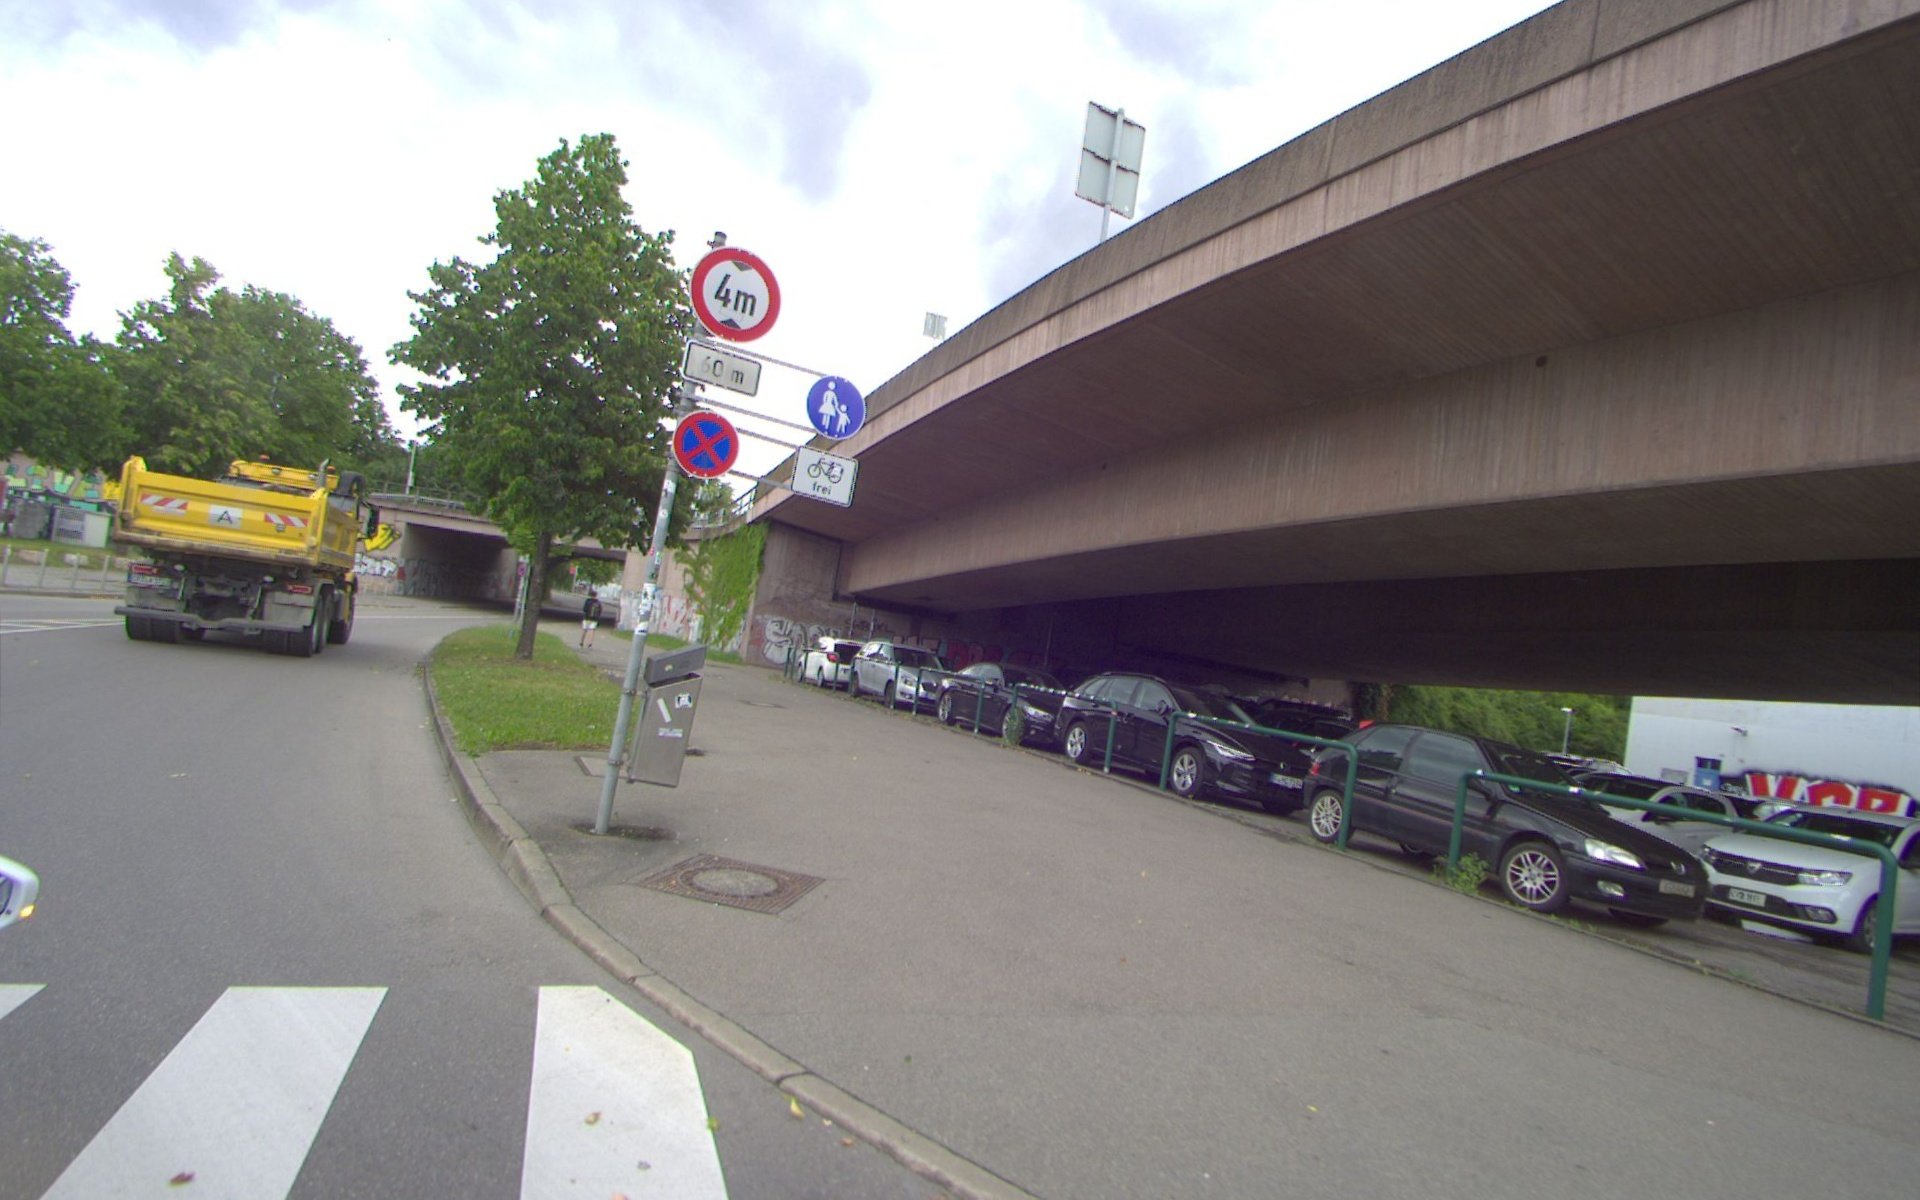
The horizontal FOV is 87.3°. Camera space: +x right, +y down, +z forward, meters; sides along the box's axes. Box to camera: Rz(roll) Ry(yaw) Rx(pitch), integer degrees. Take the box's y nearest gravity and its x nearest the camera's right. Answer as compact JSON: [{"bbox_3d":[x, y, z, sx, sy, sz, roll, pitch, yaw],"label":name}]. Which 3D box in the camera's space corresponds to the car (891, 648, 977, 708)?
[{"bbox_3d":[-0.954,2.563,33.737,1.724,1.515,3.988,10,-3,-16],"label":"car"}]

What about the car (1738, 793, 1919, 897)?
[{"bbox_3d":[18.240,5.054,20.615,3.813,1.442,1.830,11,-3,-21],"label":"car"}]

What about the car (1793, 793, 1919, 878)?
[{"bbox_3d":[22.545,5.799,24.337,4.138,1.481,1.830,11,-3,-21],"label":"car"}]

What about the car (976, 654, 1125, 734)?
[{"bbox_3d":[2.631,2.734,29.170,3.821,1.656,1.746,11,-3,-28],"label":"car"}]

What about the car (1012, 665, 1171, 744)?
[{"bbox_3d":[3.566,2.830,27.140,3.821,1.454,1.746,11,-3,-28],"label":"car"}]

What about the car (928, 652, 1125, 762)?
[{"bbox_3d":[1.059,1.888,18.580,1.750,1.335,4.354,11,-3,-22],"label":"car"}]

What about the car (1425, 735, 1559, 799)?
[{"bbox_3d":[18.830,5.910,35.645,4.138,1.481,1.830,11,-3,-21],"label":"car"}]

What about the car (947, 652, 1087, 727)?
[{"bbox_3d":[1.776,2.798,31.284,3.821,1.656,1.746,11,-3,-28],"label":"car"}]

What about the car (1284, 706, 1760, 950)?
[{"bbox_3d":[4.960,1.965,9.475,1.492,1.343,3.684,12,-4,-20],"label":"car"}]

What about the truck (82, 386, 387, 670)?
[{"bbox_3d":[-12.731,-1.021,18.549,2.736,3.737,7.836,10,-4,-26],"label":"truck"}]

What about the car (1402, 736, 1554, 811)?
[{"bbox_3d":[14.980,5.014,29.103,3.813,1.442,1.672,11,-3,-21],"label":"car"}]

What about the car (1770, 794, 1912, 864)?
[{"bbox_3d":[30.003,7.796,34.272,4.138,1.610,1.830,11,-3,-21],"label":"car"}]

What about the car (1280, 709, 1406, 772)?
[{"bbox_3d":[12.748,4.670,33.482,3.616,1.442,1.672,11,-3,-21],"label":"car"}]

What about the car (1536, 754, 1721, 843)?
[{"bbox_3d":[16.502,4.891,24.850,3.813,1.442,1.830,11,-3,-21],"label":"car"}]

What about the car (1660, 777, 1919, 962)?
[{"bbox_3d":[10.452,3.222,11.929,3.964,1.569,1.630,11,-3,-24],"label":"car"}]

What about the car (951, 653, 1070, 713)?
[{"bbox_3d":[1.848,3.014,36.510,3.821,1.494,1.746,11,-3,-28],"label":"car"}]

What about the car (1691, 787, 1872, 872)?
[{"bbox_3d":[21.700,6.058,26.585,4.138,1.481,1.830,11,-3,-21],"label":"car"}]

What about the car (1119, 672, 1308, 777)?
[{"bbox_3d":[5.755,2.821,22.791,3.821,1.712,1.746,11,-3,-28],"label":"car"}]

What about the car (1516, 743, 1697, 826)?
[{"bbox_3d":[20.180,5.765,31.421,5.041,1.695,2.082,11,-3,-21],"label":"car"}]

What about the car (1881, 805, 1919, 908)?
[{"bbox_3d":[19.014,4.951,18.232,3.813,1.716,1.830,11,-3,-21],"label":"car"}]

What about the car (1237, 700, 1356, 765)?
[{"bbox_3d":[11.896,4.692,35.631,3.616,1.615,1.672,11,-2,-21],"label":"car"}]

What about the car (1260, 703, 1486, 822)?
[{"bbox_3d":[7.688,3.029,18.693,3.821,1.572,1.687,11,-3,-28],"label":"car"}]

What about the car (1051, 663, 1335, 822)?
[{"bbox_3d":[3.002,1.845,13.971,1.492,1.434,4.229,12,-4,-22],"label":"car"}]

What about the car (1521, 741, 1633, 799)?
[{"bbox_3d":[26.292,7.229,42.867,4.138,1.706,1.830,11,-3,-21],"label":"car"}]

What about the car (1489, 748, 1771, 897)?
[{"bbox_3d":[9.784,3.247,14.658,3.821,1.525,1.687,11,-3,-28],"label":"car"}]

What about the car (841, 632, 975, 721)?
[{"bbox_3d":[-1.341,1.769,24.068,1.599,1.551,4.046,11,-3,-25],"label":"car"}]

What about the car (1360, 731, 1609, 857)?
[{"bbox_3d":[8.737,3.236,16.728,3.821,1.459,1.687,11,-3,-28],"label":"car"}]

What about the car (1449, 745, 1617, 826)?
[{"bbox_3d":[15.466,5.007,27.166,3.813,1.442,1.830,11,-3,-21],"label":"car"}]

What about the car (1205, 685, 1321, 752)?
[{"bbox_3d":[11.370,4.448,37.790,3.616,1.808,1.875,11,-2,-21],"label":"car"}]

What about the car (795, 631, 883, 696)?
[{"bbox_3d":[-3.560,1.793,29.174,1.559,1.455,3.363,10,-3,-21],"label":"car"}]

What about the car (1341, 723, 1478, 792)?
[{"bbox_3d":[13.864,4.856,31.024,3.616,1.442,1.672,11,-3,-21],"label":"car"}]

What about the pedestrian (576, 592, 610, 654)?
[{"bbox_3d":[-12.129,0.755,33.220,0.728,1.928,0.821,9,-2,-24],"label":"pedestrian"}]

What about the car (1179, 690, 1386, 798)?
[{"bbox_3d":[6.660,2.970,20.714,3.821,1.572,1.746,11,-3,-28],"label":"car"}]
